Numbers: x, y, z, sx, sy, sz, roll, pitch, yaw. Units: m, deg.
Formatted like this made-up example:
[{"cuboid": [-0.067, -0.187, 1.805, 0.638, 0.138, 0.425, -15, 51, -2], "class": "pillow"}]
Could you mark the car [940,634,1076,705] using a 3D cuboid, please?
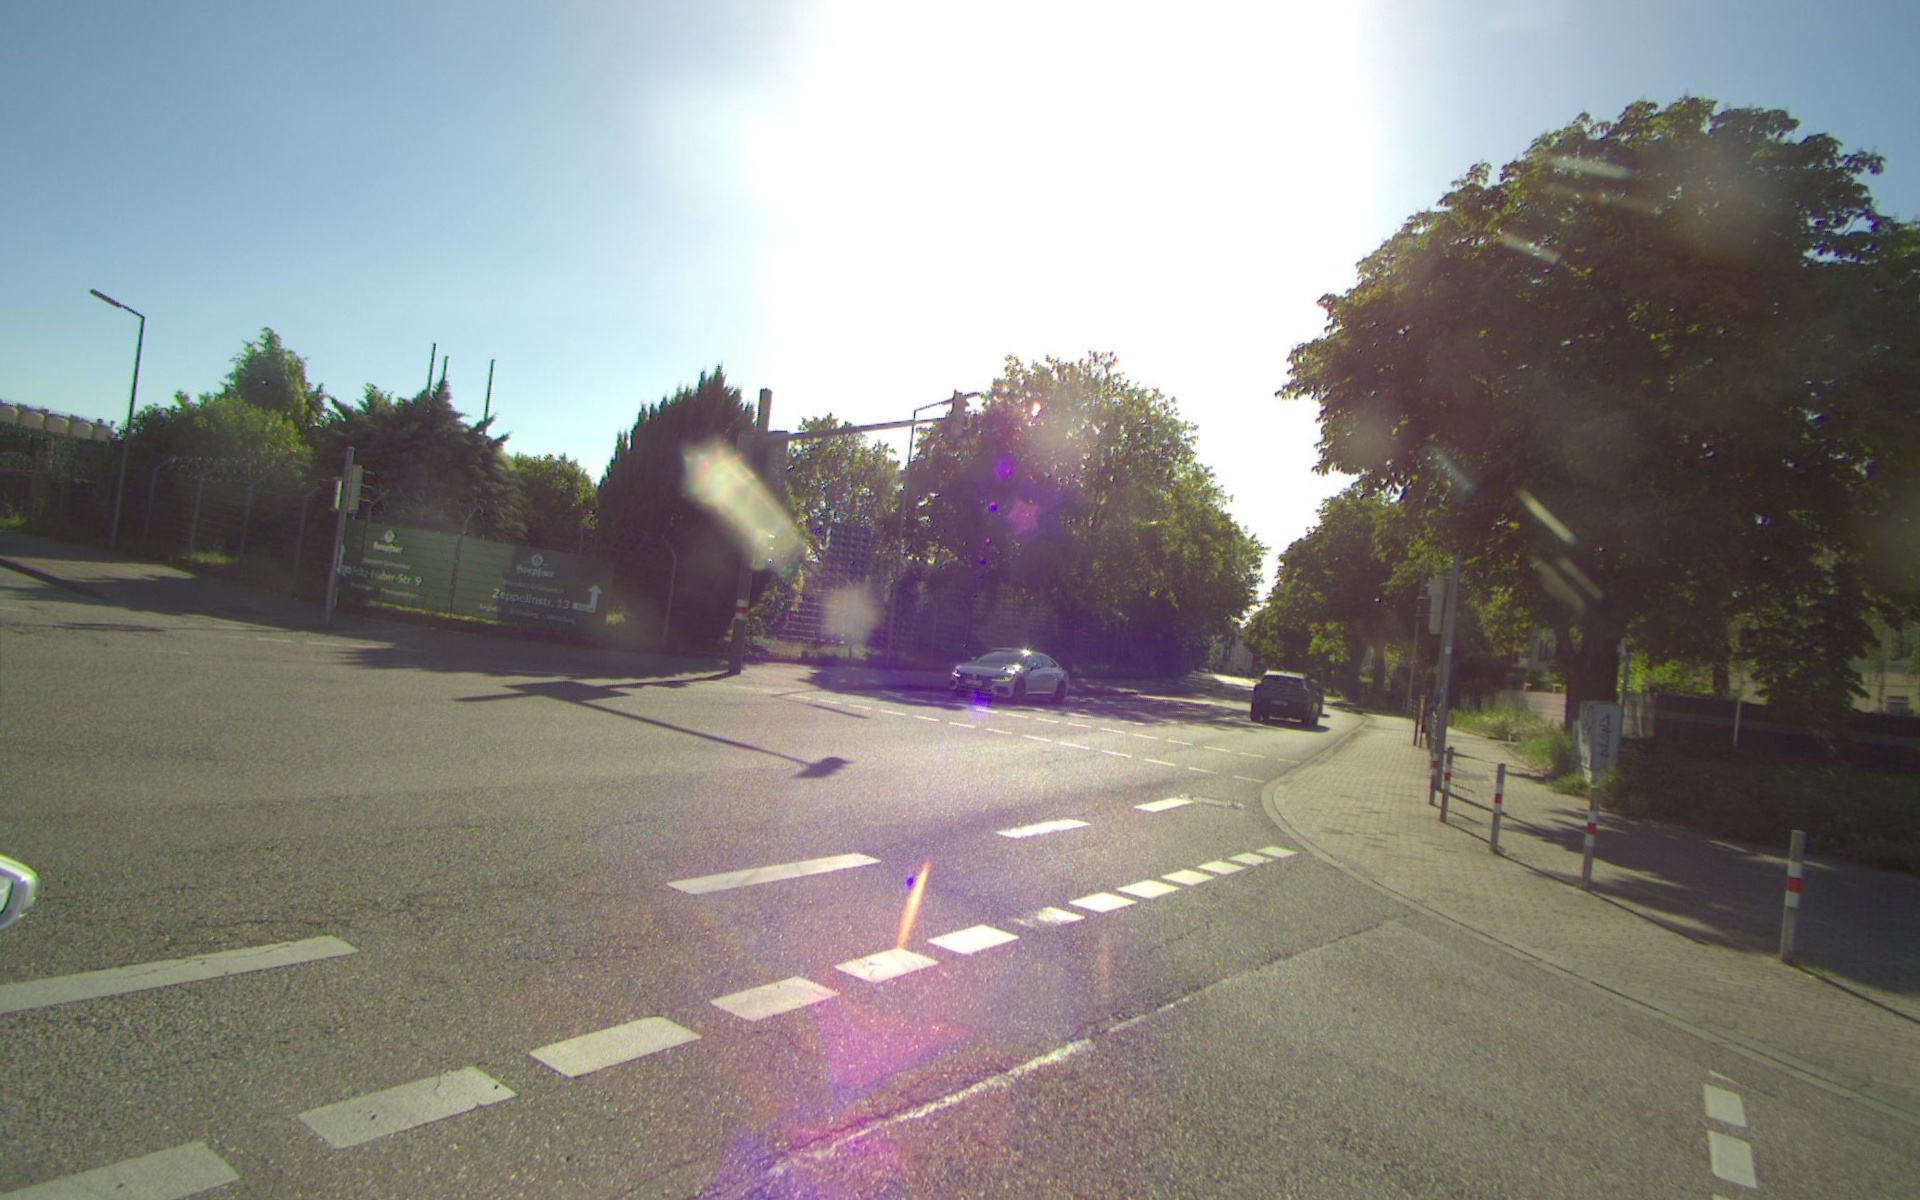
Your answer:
[{"cuboid": [1.399, 1.925, 27.184, 1.779, 1.550, 4.511, 6, -2, 28], "class": "car"}]

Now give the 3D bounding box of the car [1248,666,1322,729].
[{"cuboid": [10.498, 3.111, 32.342, 1.828, 1.653, 4.259, 7, -2, 22], "class": "car"}]
